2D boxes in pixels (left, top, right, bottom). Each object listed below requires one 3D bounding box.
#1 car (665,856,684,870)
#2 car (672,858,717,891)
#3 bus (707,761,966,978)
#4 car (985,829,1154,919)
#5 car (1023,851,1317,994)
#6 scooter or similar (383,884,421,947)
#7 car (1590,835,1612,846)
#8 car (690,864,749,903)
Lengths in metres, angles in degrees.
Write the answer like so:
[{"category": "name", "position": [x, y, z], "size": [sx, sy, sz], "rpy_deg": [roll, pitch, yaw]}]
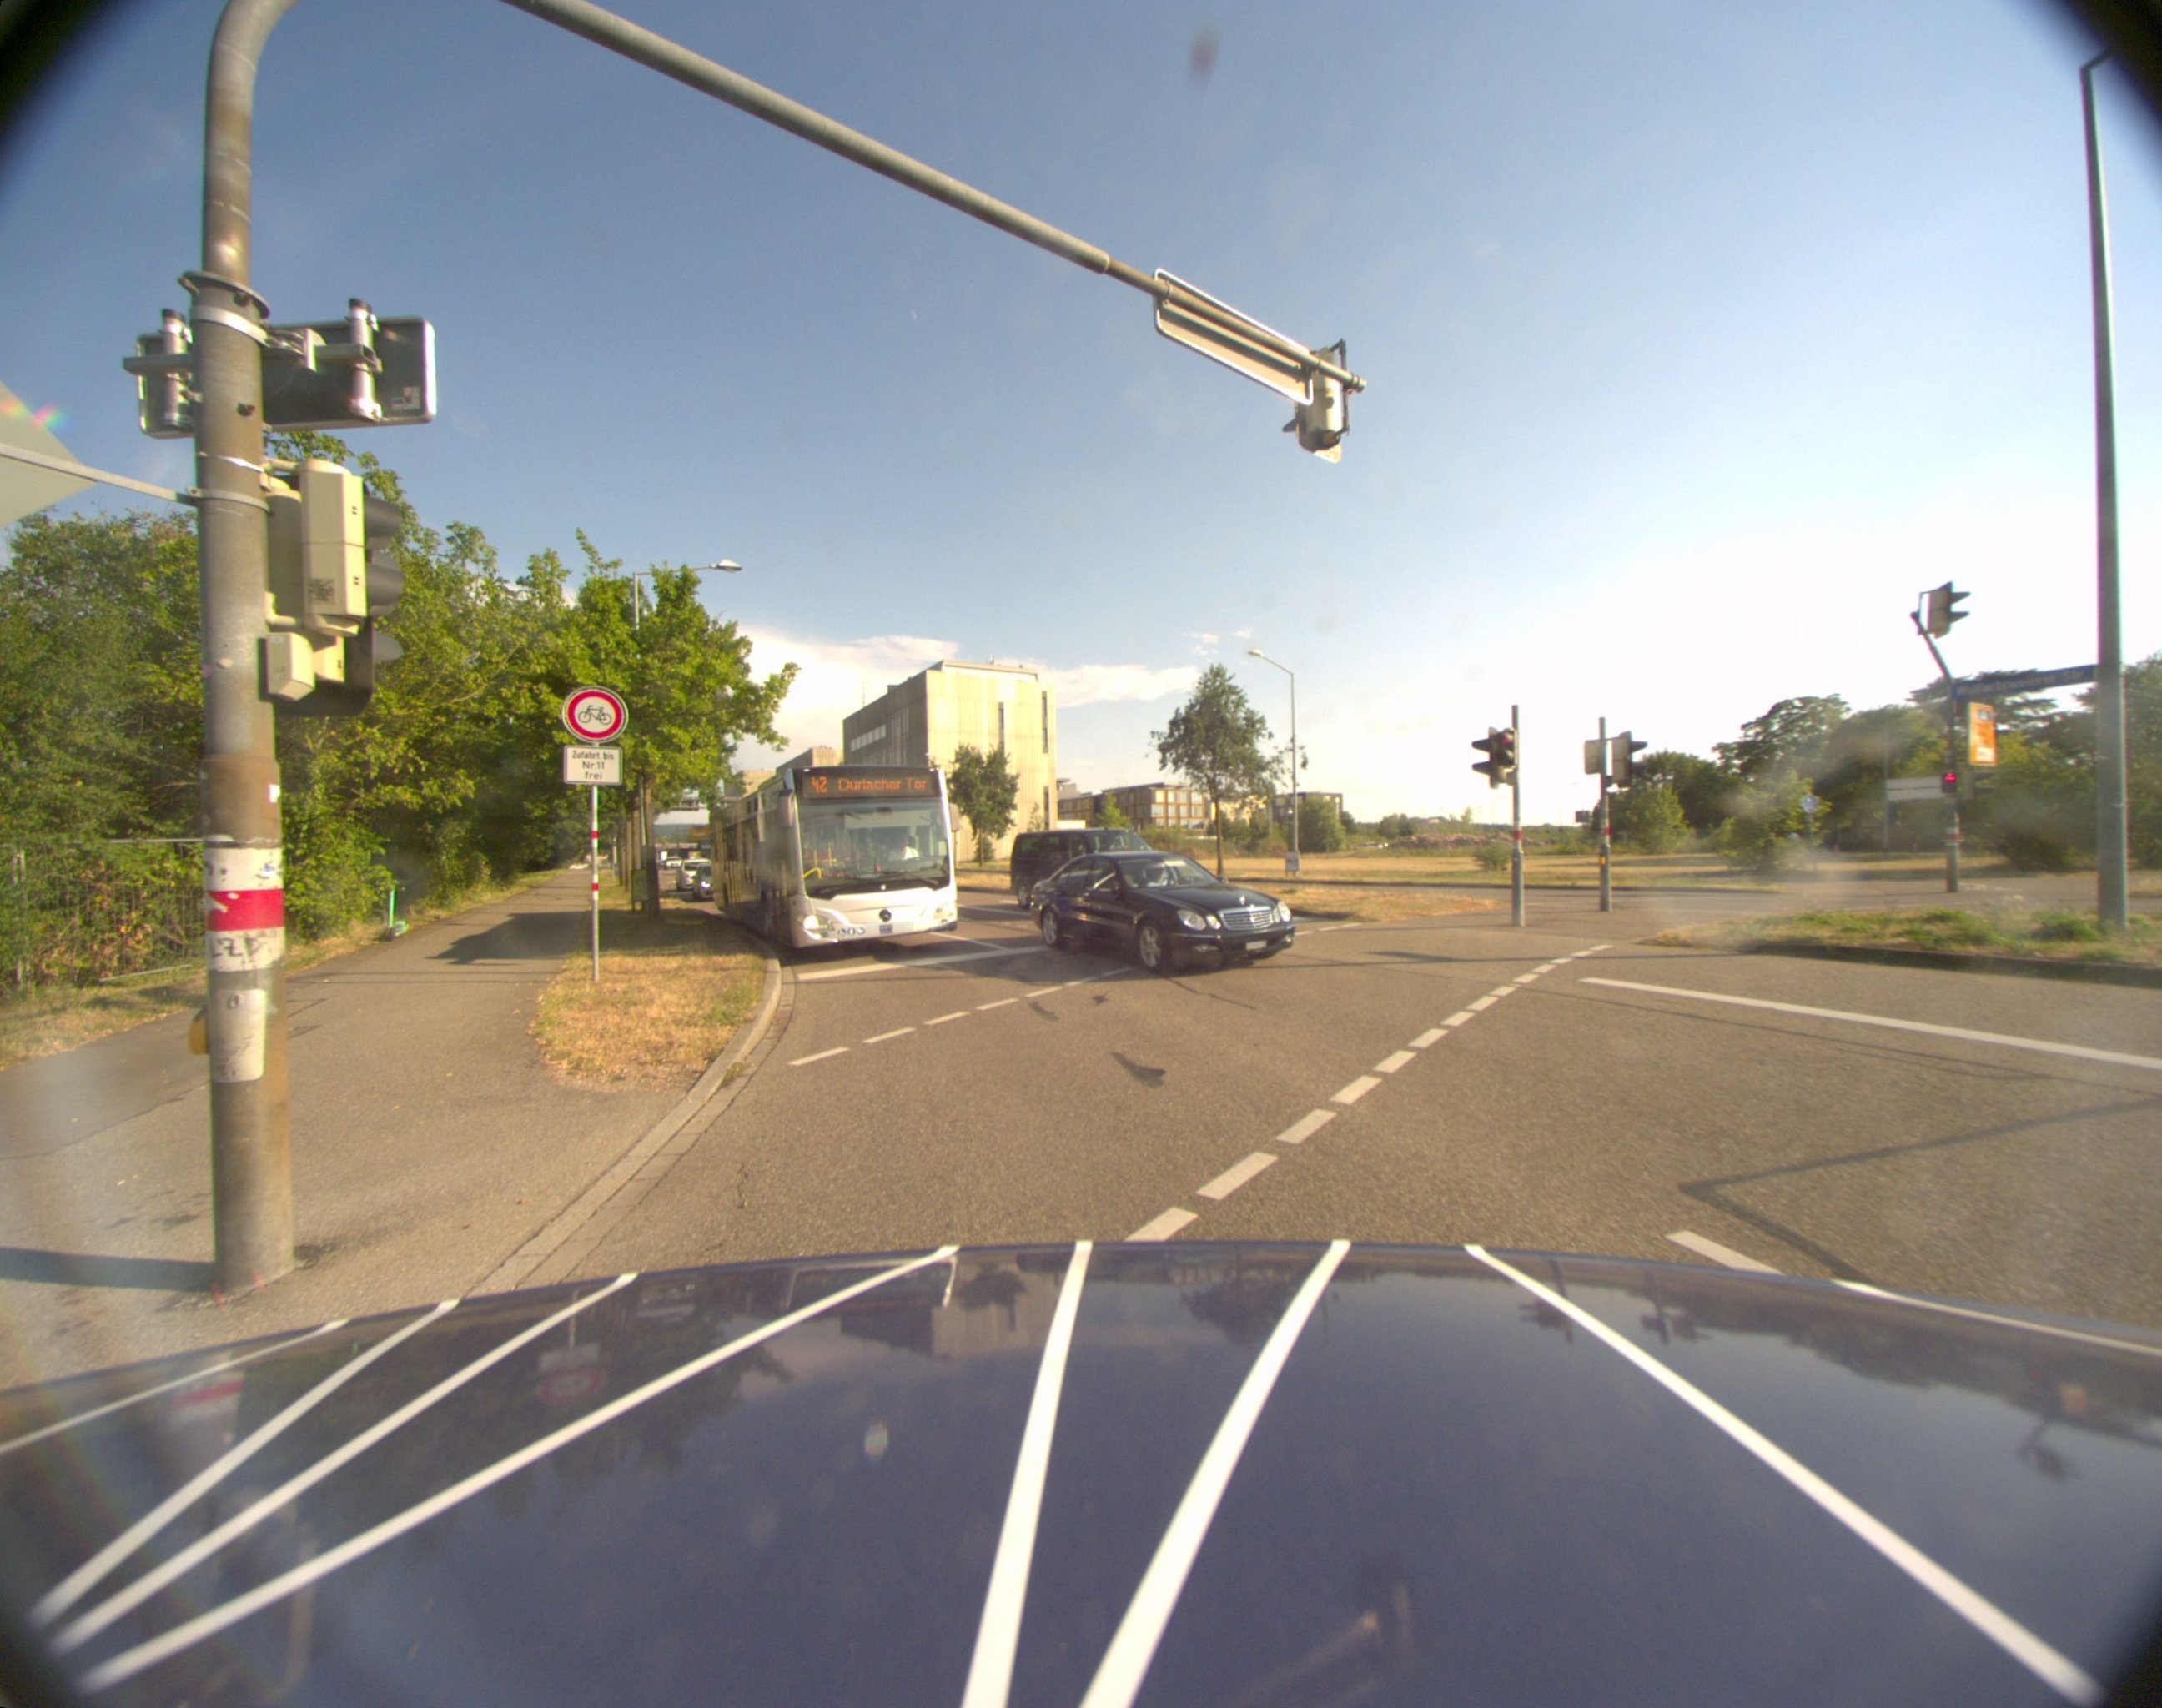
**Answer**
[{"category": "car", "position": [-47.499, 1.046, 88.816], "size": [1.588, 1.553, 3.618], "rpy_deg": [-2, 1, -34]}, {"category": "car", "position": [-19.831, 1.023, 38.906], "size": [1.588, 1.553, 3.618], "rpy_deg": [-2, 1, -34]}, {"category": "bus", "position": [-5.965, 0.200, 16.233], "size": [2.600, 3.025, 11.691], "rpy_deg": [-3, 1, -31]}, {"category": "car", "position": [-0.463, 0.422, 19.294], "size": [1.865, 1.921, 5.000], "rpy_deg": [-4, 2, -32]}, {"category": "car", "position": [0.925, 0.746, 10.493], "size": [1.813, 1.428, 4.484], "rpy_deg": [-4, 1, -26]}, {"category": "scooter or similar", "position": [-12.786, 1.137, 14.328], "size": [0.250, 1.119, 1.092], "rpy_deg": [1, -1, -27]}, {"category": "car", "position": [67.499, -1.741, 98.717], "size": [1.334, 1.284, 2.807], "rpy_deg": [-1, 0, 12]}, {"category": "car", "position": [-14.503, 1.135, 30.393], "size": [1.588, 1.415, 3.618], "rpy_deg": [-2, 1, -34]}]
